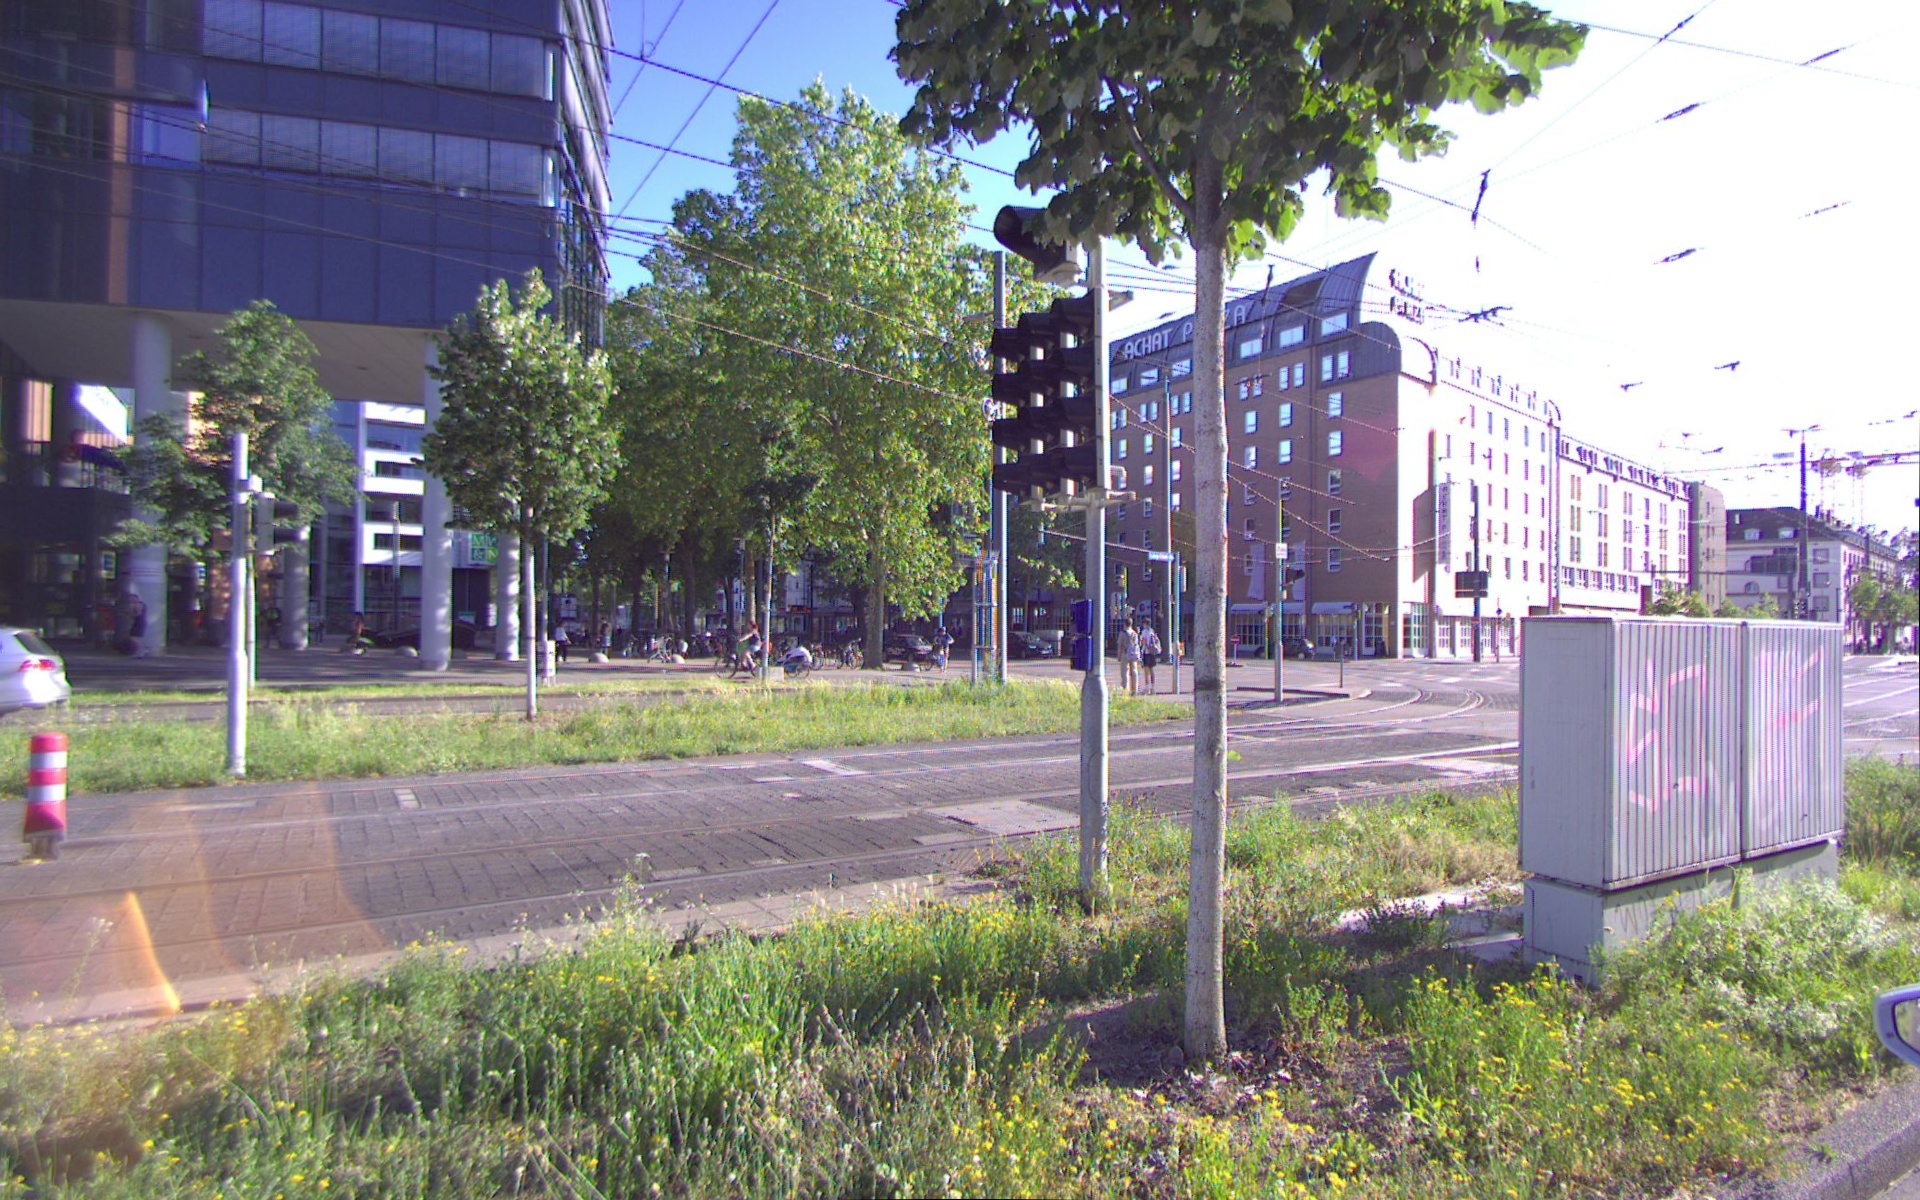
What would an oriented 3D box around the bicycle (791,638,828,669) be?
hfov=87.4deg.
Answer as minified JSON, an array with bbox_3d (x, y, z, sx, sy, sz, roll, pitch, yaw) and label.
[{"bbox_3d":[-5.877,2.056,39.127,0.592,1.143,2.348,0,-1,-30],"label":"bicycle"}]

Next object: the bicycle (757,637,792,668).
[{"bbox_3d":[-7.228,2.019,39.117,0.592,1.143,2.348,0,-1,-30],"label":"bicycle"}]

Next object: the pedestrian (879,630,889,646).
[{"bbox_3d":[-5.688,2.867,75.068,0.583,1.179,0.742,1,-1,-17],"label":"pedestrian"}]

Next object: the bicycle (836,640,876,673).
[{"bbox_3d":[-3.870,2.061,37.193,0.592,1.143,2.349,0,-1,-29],"label":"bicycle"}]

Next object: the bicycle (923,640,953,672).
[{"bbox_3d":[-0.853,2.107,38.241,0.683,1.152,1.845,1,-2,-16],"label":"bicycle"}]

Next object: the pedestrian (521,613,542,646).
[{"bbox_3d":[-21.530,1.496,50.483,0.685,1.644,0.734,1,-1,1],"label":"pedestrian"}]

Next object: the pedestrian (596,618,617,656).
[{"bbox_3d":[-15.767,1.645,44.816,0.691,1.674,0.700,2,-1,-32],"label":"pedestrian"}]

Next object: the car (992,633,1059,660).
[{"bbox_3d":[3.543,2.517,55.134,1.653,1.433,3.965,2,-3,-32],"label":"car"}]

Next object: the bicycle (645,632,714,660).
[{"bbox_3d":[-14.300,2.349,51.279,1.021,1.371,3.342,-1,-2,44],"label":"bicycle"}]

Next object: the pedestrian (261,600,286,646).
[{"bbox_3d":[-26.011,0.887,38.051,0.691,1.727,0.728,1,-2,-31],"label":"pedestrian"}]

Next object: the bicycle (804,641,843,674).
[{"bbox_3d":[-4.961,2.060,36.424,0.592,1.143,2.349,0,-1,-29],"label":"bicycle"}]

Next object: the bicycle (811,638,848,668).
[{"bbox_3d":[-5.241,2.117,40.248,0.592,1.143,2.348,0,-1,-30],"label":"bicycle"}]

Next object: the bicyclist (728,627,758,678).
[{"bbox_3d":[-6.666,1.597,30.819,0.695,1.550,0.686,1,-1,-31],"label":"bicyclist"}]

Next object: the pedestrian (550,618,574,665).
[{"bbox_3d":[-14.838,1.541,37.450,0.819,1.702,0.712,-1,-1,-23],"label":"pedestrian"}]

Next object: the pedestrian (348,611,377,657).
[{"bbox_3d":[-21.297,1.211,35.799,0.722,1.644,0.696,1,-1,-18],"label":"pedestrian"}]

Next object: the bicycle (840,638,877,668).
[{"bbox_3d":[-4.120,2.125,40.669,0.592,1.143,2.348,0,-1,-30],"label":"bicycle"}]

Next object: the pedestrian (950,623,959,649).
[{"bbox_3d":[-0.410,2.558,71.158,0.581,1.853,0.745,1,-1,-1],"label":"pedestrian"}]

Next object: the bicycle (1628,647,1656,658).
[{"bbox_3d":[59.634,4.595,87.813,0.477,0.933,2.024,1,-2,-30],"label":"bicycle"}]

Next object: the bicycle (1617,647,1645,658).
[{"bbox_3d":[58.445,4.591,87.532,0.477,0.933,2.024,1,-2,-30],"label":"bicycle"}]

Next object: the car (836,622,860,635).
[{"bbox_3d":[-14.545,3.696,130.274,1.658,1.674,3.659,2,-2,-31],"label":"car"}]

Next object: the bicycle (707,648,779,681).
[{"bbox_3d":[-6.655,1.972,30.831,2.043,0.962,0.686,2,-1,-31],"label":"bicycle"}]

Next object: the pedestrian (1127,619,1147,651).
[{"bbox_3d":[9.554,1.895,54.217,0.821,1.702,0.711,0,-1,-30],"label":"pedestrian"}]

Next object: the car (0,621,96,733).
[{"bbox_3d":[-15.045,1.048,13.738,4.759,1.548,1.610,2,-2,-38],"label":"car"}]

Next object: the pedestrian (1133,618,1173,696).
[{"bbox_3d":[4.814,1.407,25.097,0.666,1.894,0.727,1,-2,-33],"label":"pedestrian"}]

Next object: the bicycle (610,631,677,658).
[{"bbox_3d":[-16.714,2.342,53.129,1.021,1.371,3.342,-1,-2,44],"label":"bicycle"}]

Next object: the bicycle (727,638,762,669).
[{"bbox_3d":[-8.297,2.032,38.614,0.592,1.143,2.348,0,-1,-30],"label":"bicycle"}]

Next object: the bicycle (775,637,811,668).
[{"bbox_3d":[-6.476,2.010,38.844,0.592,1.143,2.348,0,-1,-30],"label":"bicycle"}]

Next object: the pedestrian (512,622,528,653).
[{"bbox_3d":[-24.766,2.112,56.576,0.691,1.737,0.727,1,-1,-33],"label":"pedestrian"}]

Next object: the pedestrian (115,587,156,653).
[{"bbox_3d":[-22.209,0.542,27.067,0.691,1.727,0.728,1,-2,-31],"label":"pedestrian"}]

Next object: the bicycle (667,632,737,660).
[{"bbox_3d":[-12.803,2.281,49.954,1.021,1.371,3.342,-1,-2,44],"label":"bicycle"}]

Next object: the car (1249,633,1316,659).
[{"bbox_3d":[20.881,2.961,65.146,3.809,1.622,1.605,-1,-2,45],"label":"car"}]

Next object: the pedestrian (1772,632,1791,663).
[{"bbox_3d":[47.440,2.725,58.004,0.589,1.750,0.715,2,-2,-39],"label":"pedestrian"}]

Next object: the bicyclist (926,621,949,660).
[{"bbox_3d":[-0.851,1.537,38.259,0.683,1.480,0.751,1,-1,-17],"label":"bicyclist"}]

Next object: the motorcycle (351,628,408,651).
[{"bbox_3d":[-28.656,1.950,49.584,2.309,1.072,0.828,1,-1,-22],"label":"motorcycle"}]

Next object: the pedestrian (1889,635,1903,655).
[{"bbox_3d":[82.303,3.954,88.361,0.850,1.692,0.781,0,0,39],"label":"pedestrian"}]

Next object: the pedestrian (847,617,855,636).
[{"bbox_3d":[-9.014,2.192,83.067,0.557,1.594,0.636,2,0,-20],"label":"pedestrian"}]

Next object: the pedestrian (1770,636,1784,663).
[{"bbox_3d":[48.702,2.956,59.888,0.573,1.598,0.644,0,-2,36],"label":"pedestrian"}]

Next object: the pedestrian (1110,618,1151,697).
[{"bbox_3d":[4.145,1.383,24.452,0.691,1.894,0.728,1,-2,-31],"label":"pedestrian"}]

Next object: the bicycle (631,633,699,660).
[{"bbox_3d":[-15.354,2.402,52.346,1.021,1.371,3.342,-1,-2,44],"label":"bicycle"}]

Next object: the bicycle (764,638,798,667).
[{"bbox_3d":[-7.347,2.125,41.127,0.592,1.143,2.348,0,-1,-30],"label":"bicycle"}]

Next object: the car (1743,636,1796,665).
[{"bbox_3d":[53.552,3.338,66.422,4.071,1.859,1.825,2,-4,-38],"label":"car"}]

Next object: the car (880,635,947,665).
[{"bbox_3d":[-2.313,2.434,49.296,1.652,1.425,3.968,2,-3,-30],"label":"car"}]

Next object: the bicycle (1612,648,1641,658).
[{"bbox_3d":[57.444,4.589,86.583,0.477,0.856,2.024,1,-2,-30],"label":"bicycle"}]
